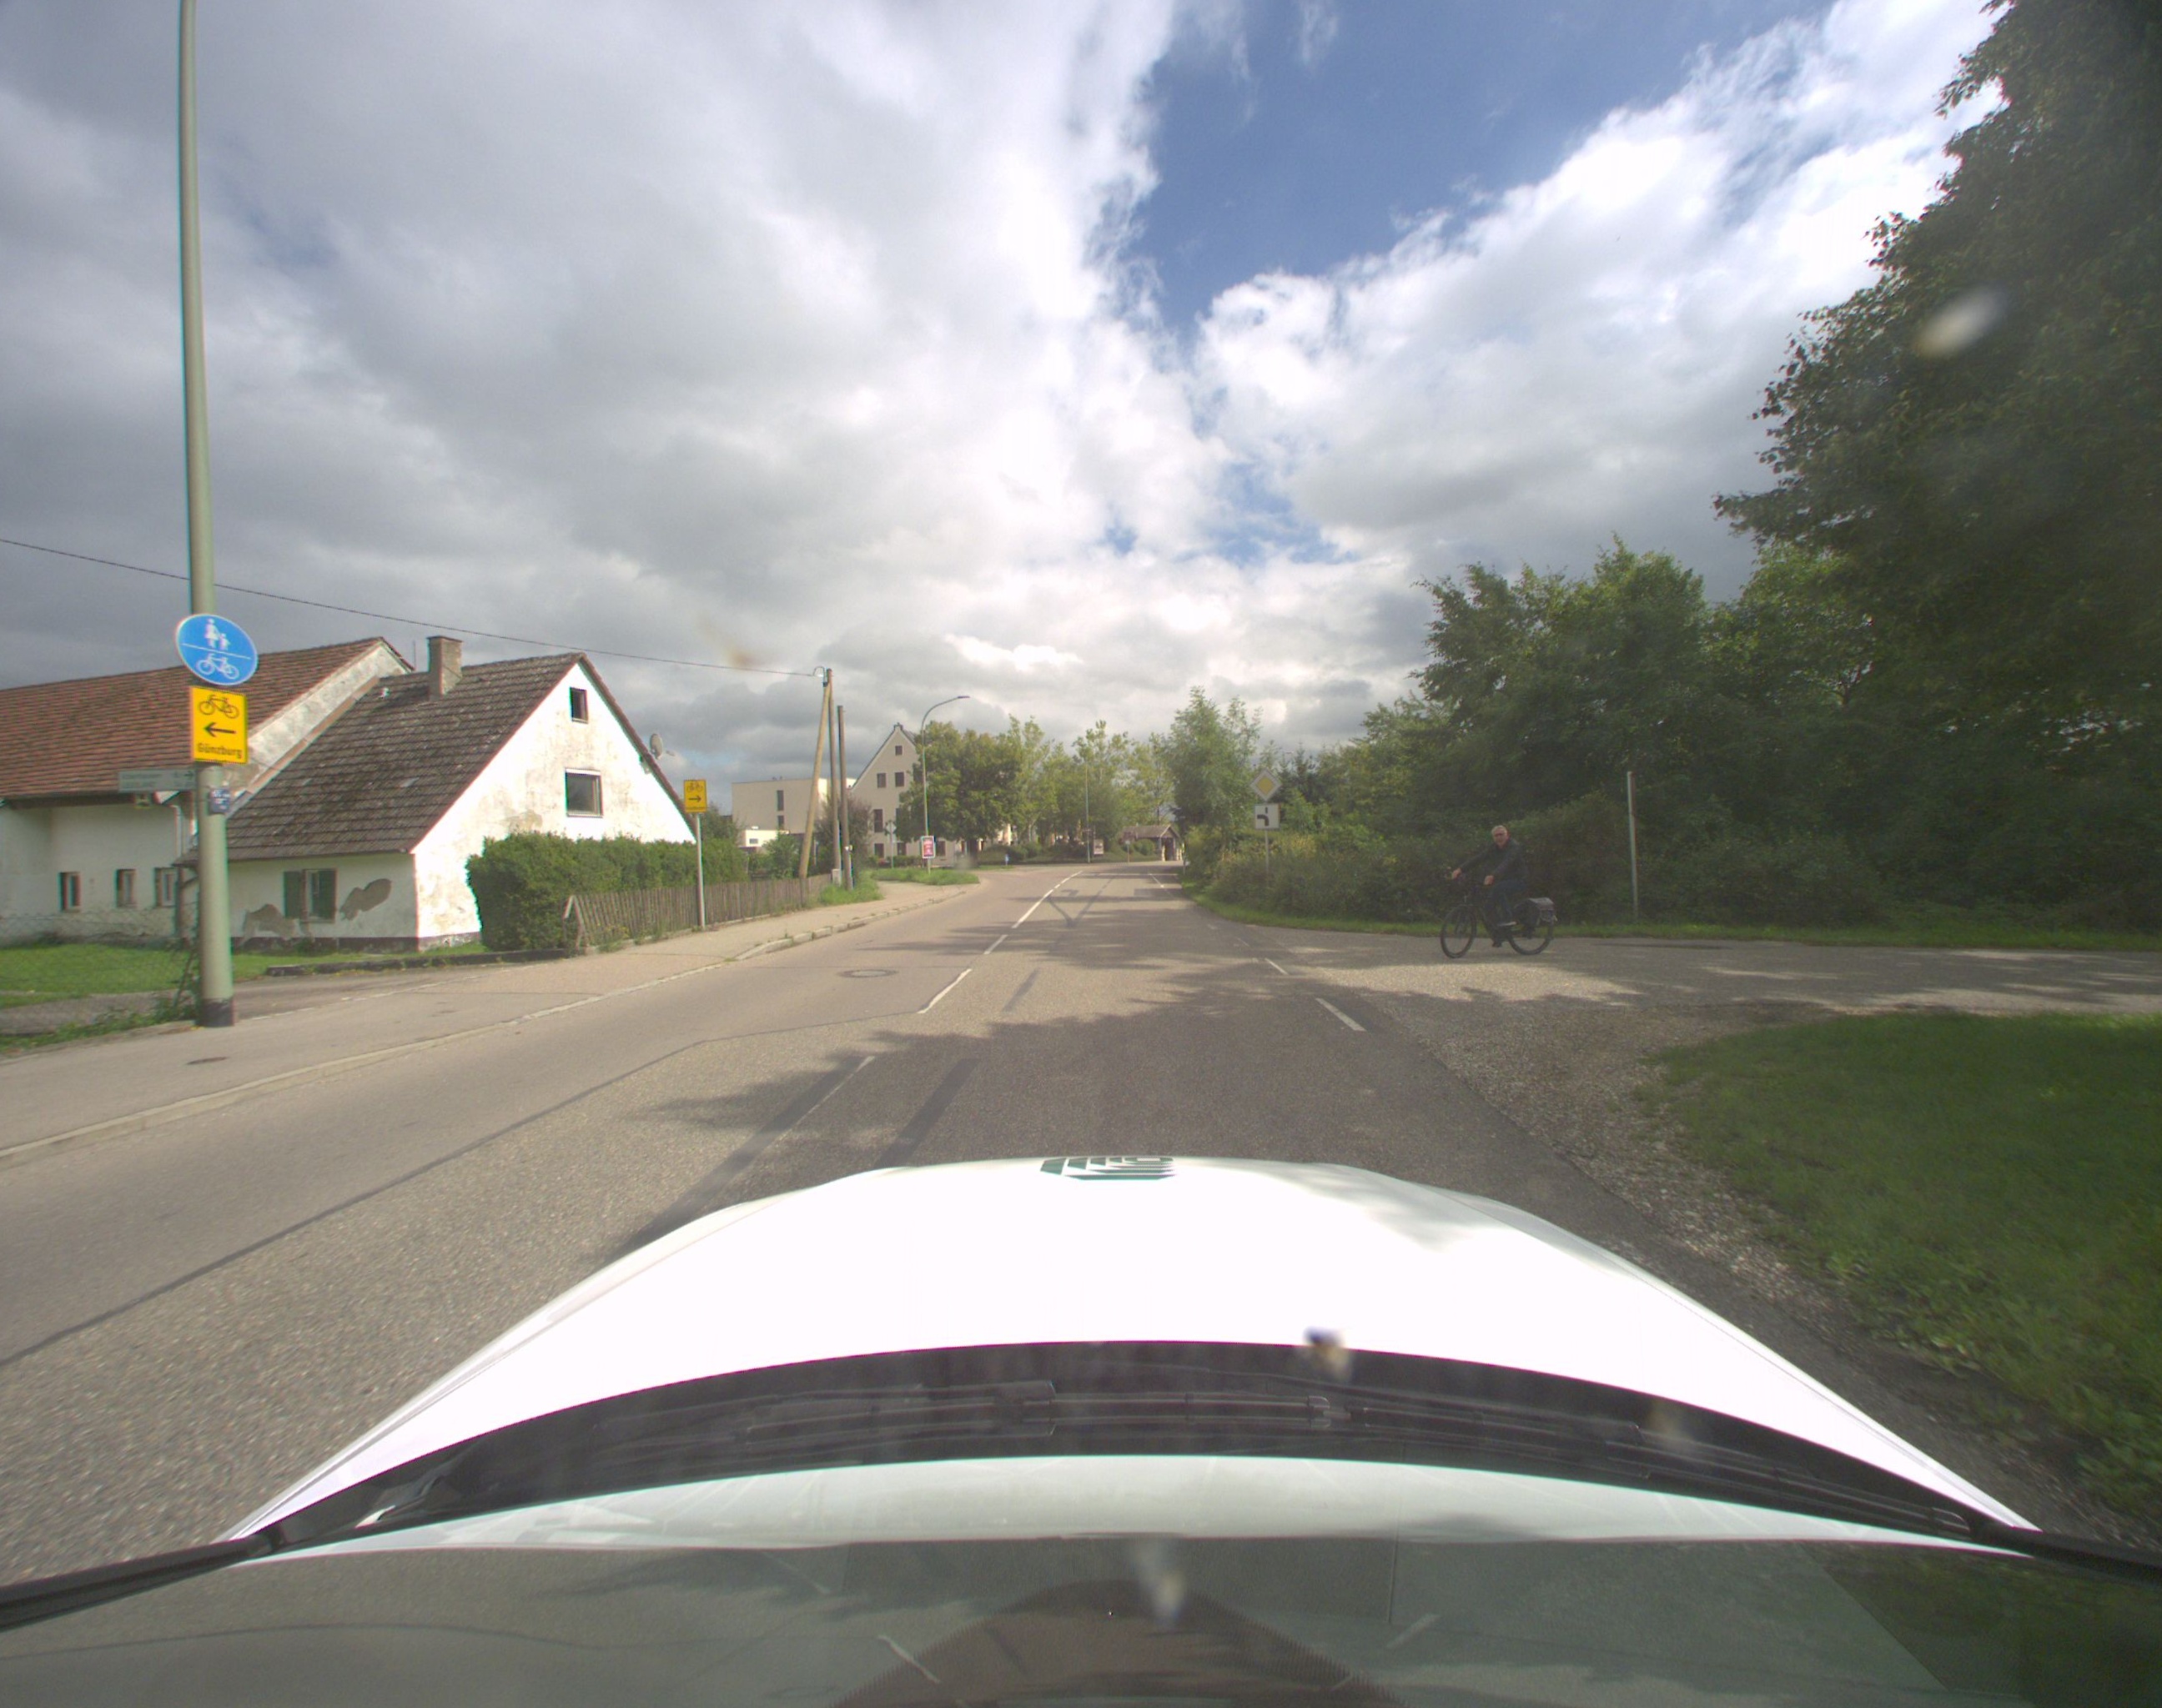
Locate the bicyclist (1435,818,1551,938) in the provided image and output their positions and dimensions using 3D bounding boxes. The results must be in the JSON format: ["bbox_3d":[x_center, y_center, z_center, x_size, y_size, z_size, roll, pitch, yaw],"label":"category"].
[{"bbox_3d":[5.706,0.307,11.329,1.018,1.585,1.050,0,0,-12],"label":"bicyclist"}]

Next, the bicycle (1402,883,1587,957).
[{"bbox_3d":[5.726,0.891,11.338,2.117,0.864,1.050,-1,0,-12],"label":"bicycle"}]
